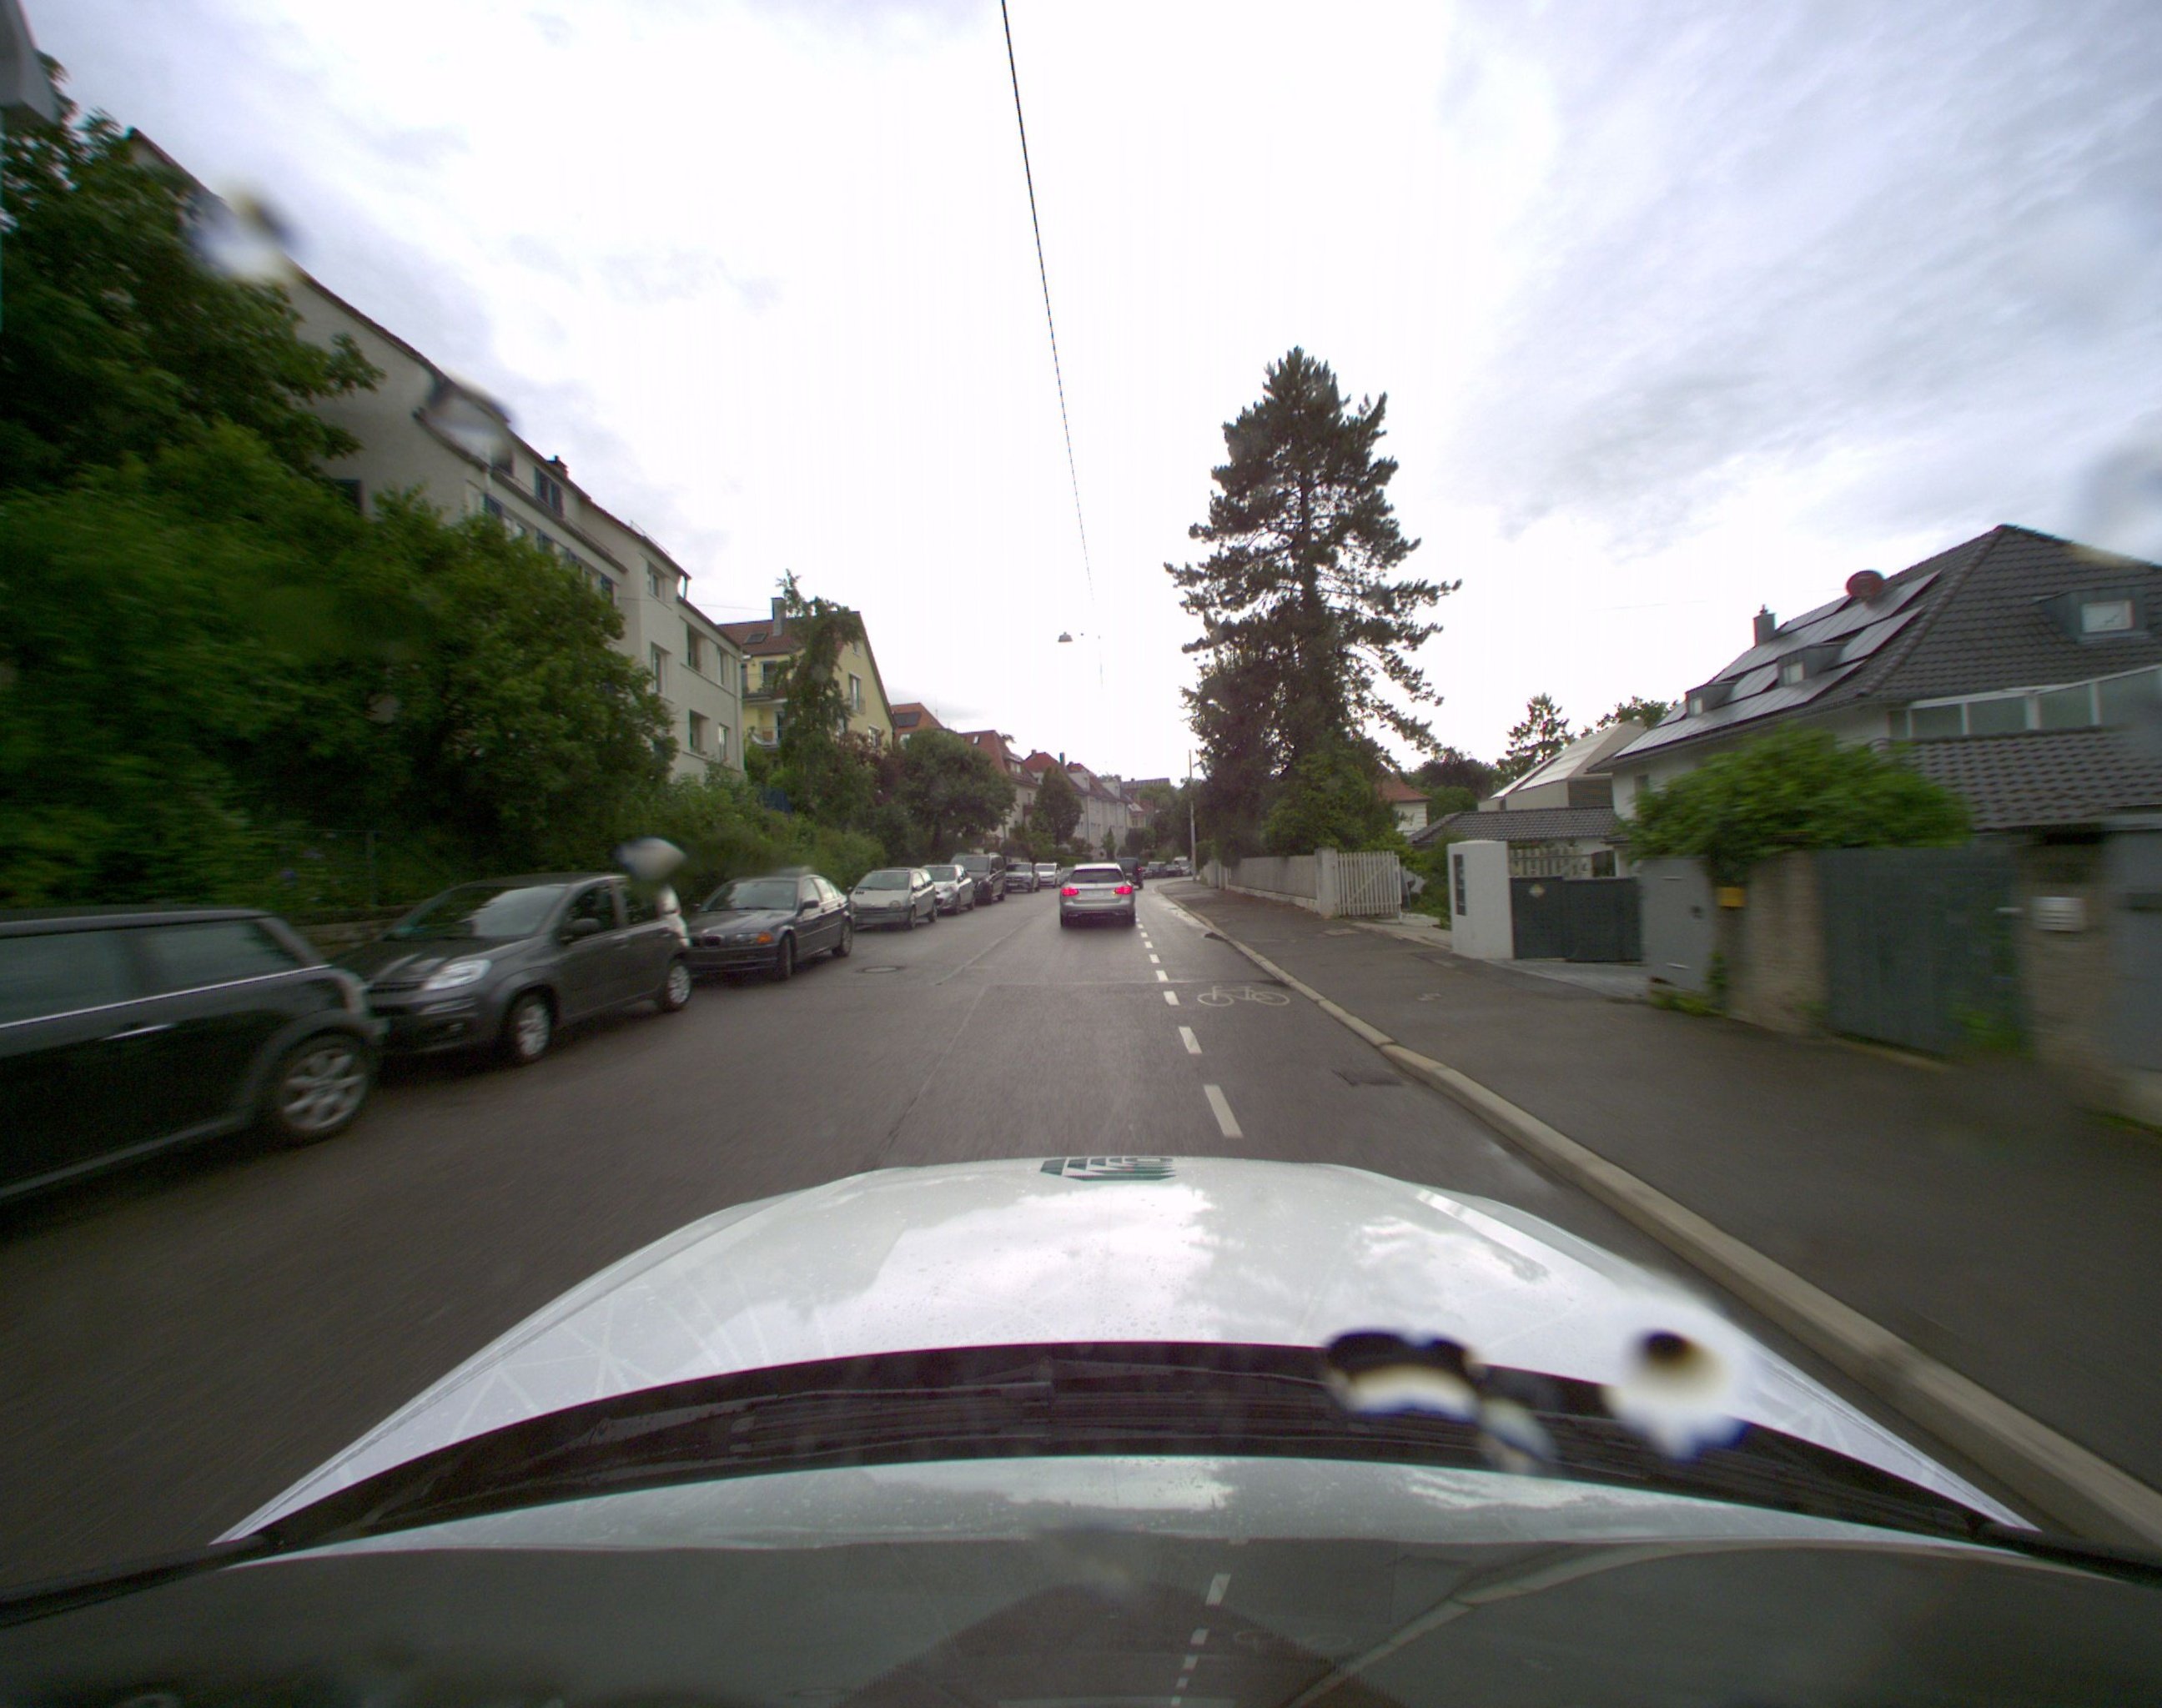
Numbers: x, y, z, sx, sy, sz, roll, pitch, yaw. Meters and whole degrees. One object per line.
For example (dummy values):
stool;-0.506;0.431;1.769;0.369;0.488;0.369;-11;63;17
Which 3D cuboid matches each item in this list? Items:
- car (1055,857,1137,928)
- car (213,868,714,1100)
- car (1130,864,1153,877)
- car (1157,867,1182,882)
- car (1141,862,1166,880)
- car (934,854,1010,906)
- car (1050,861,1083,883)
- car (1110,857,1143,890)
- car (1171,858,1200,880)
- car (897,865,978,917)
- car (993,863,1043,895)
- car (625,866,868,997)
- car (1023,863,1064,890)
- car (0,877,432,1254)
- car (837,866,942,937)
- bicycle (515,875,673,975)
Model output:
car;0.419;0.859;20.141;1.809;1.556;4.002;-1;0;2
car;-5.200;0.945;7.626;1.690;1.541;3.814;-1;0;1
car;7.021;1.896;94.011;1.631;1.417;4.632;-1;-1;16
car;11.641;2.670;106.488;1.976;1.688;4.702;-1;1;22
car;8.923;2.086;99.658;1.814;2.056;5.033;-1;-1;19
car;-4.169;0.960;32.105;1.985;1.878;5.360;-1;0;3
car;-1.092;1.381;62.968;1.781;1.581;4.149;1;0;9
car;2.738;1.158;48.830;1.835;1.904;4.003;-1;-1;3
car;14.592;2.008;113.702;2.370;2.772;6.567;-1;1;22
car;-4.421;1.102;25.582;1.687;1.447;3.816;-2;-1;2
car;-3.395;1.319;44.729;1.984;1.581;4.767;1;0;5
car;-4.793;1.013;12.463;1.749;1.446;4.418;-2;1;1
car;-2.434;1.476;54.575;1.983;1.702;4.747;1;0;6
car;-5.408;0.945;3.588;1.886;1.446;3.816;-2;1;2
car;-4.681;1.114;20.370;1.640;1.446;3.629;-2;1;1
bicycle;-7.570;1.052;12.838;1.000;1.301;2.292;-2;1;2
